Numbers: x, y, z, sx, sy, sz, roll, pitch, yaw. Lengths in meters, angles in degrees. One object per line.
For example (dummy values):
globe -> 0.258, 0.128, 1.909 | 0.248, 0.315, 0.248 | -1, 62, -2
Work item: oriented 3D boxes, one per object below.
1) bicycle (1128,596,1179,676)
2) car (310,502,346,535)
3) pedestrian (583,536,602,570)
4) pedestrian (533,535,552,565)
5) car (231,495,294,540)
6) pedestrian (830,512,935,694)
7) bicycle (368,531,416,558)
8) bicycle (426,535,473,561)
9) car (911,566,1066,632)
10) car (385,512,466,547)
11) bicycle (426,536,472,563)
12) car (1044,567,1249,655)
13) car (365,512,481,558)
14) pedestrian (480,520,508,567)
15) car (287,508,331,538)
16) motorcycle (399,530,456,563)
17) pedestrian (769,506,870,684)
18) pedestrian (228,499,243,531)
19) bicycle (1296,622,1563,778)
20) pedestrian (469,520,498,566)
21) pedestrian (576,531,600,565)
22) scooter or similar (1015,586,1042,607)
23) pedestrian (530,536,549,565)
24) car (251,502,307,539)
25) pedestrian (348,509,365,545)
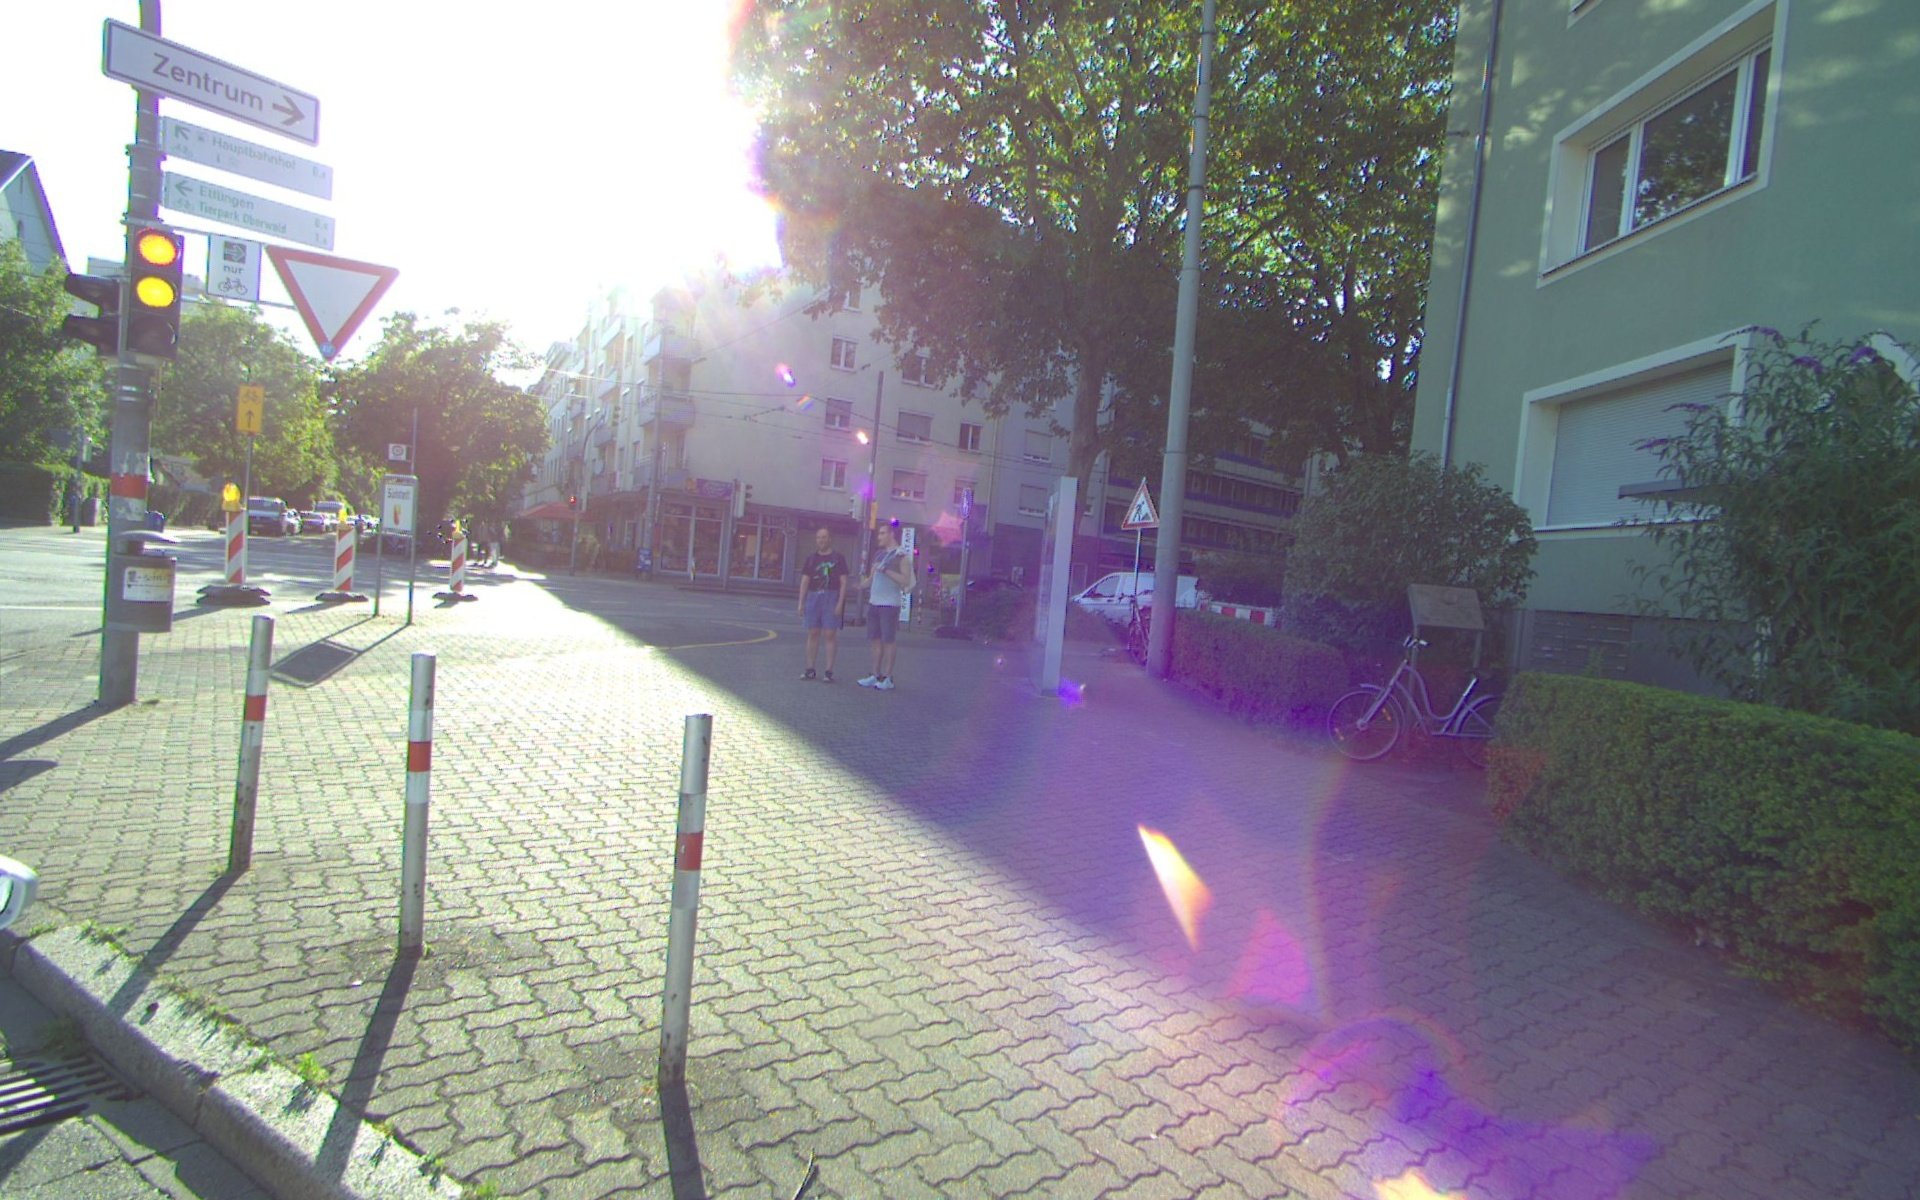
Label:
bicycle -> 2.857, 0.497, 15.008 | 0.511, 1.071, 1.933 | 6, 2, 7
car -> -54.392, -6.987, 86.643 | 2.336, 2.548, 5.265 | 4, 2, -31
pedestrian -> -17.946, -2.302, 49.107 | 0.472, 1.613, 0.615 | 8, 3, 45
pedestrian -> -20.826, -2.490, 50.210 | 0.803, 1.381, 0.908 | 4, 2, -23
car -> -37.336, -4.401, 53.994 | 2.336, 2.040, 5.265 | 4, 2, -31
pedestrian -> -0.800, 0.029, 10.526 | 0.680, 1.774, 0.794 | 6, 2, 21
bicycle -> -23.707, -2.336, 42.021 | 1.708, 0.945, 0.667 | 5, 2, -29
bicycle -> -21.609, -2.192, 42.613 | 1.708, 0.945, 0.557 | 5, 2, -29
car -> 0.901, -0.015, 30.514 | 4.349, 1.586, 1.880 | 3, 4, -36
car -> -39.355, -5.157, 74.125 | 5.050, 1.948, 2.344 | 5, 0, -32
bicycle -> -21.979, -2.169, 43.284 | 1.708, 0.945, 0.557 | 5, 2, -29
car -> 4.704, 0.225, 26.136 | 1.913, 1.849, 5.185 | 5, 0, -37
car -> -30.233, -3.586, 56.683 | 5.576, 1.948, 2.343 | 5, 0, -32
pedestrian -> -18.602, -2.241, 40.164 | 0.681, 1.774, 0.793 | 5, 2, -8
car -> -47.042, -5.584, 72.778 | 2.336, 1.818, 5.265 | 4, 2, -31
motorcycle -> -21.647, -2.166, 40.889 | 1.938, 1.124, 0.829 | 4, 2, -34
pedestrian -> -1.483, -0.054, 10.729 | 0.680, 1.774, 0.794 | 6, 2, 13
pedestrian -> -42.296, -4.963, 58.723 | 0.575, 1.754, 0.602 | 4, 3, -34
bicycle -> 3.945, 0.825, 8.553 | 1.897, 1.071, 0.521 | 6, 2, 5
pedestrian -> -19.364, -2.300, 40.891 | 0.706, 1.774, 0.793 | 5, 2, -7
pedestrian -> -18.391, -2.561, 49.695 | 0.806, 1.565, 0.905 | 3, 3, -35
scooter or similar -> 3.559, -0.185, 52.135 | 1.421, 0.966, 0.462 | 4, 3, -44
pedestrian -> -21.466, -2.529, 51.366 | 0.803, 1.381, 0.908 | 4, 2, -23
car -> -40.166, -4.684, 59.467 | 2.336, 1.818, 5.265 | 4, 2, -31
pedestrian -> -32.041, -3.867, 53.419 | 0.656, 1.864, 0.677 | 4, 3, -30
